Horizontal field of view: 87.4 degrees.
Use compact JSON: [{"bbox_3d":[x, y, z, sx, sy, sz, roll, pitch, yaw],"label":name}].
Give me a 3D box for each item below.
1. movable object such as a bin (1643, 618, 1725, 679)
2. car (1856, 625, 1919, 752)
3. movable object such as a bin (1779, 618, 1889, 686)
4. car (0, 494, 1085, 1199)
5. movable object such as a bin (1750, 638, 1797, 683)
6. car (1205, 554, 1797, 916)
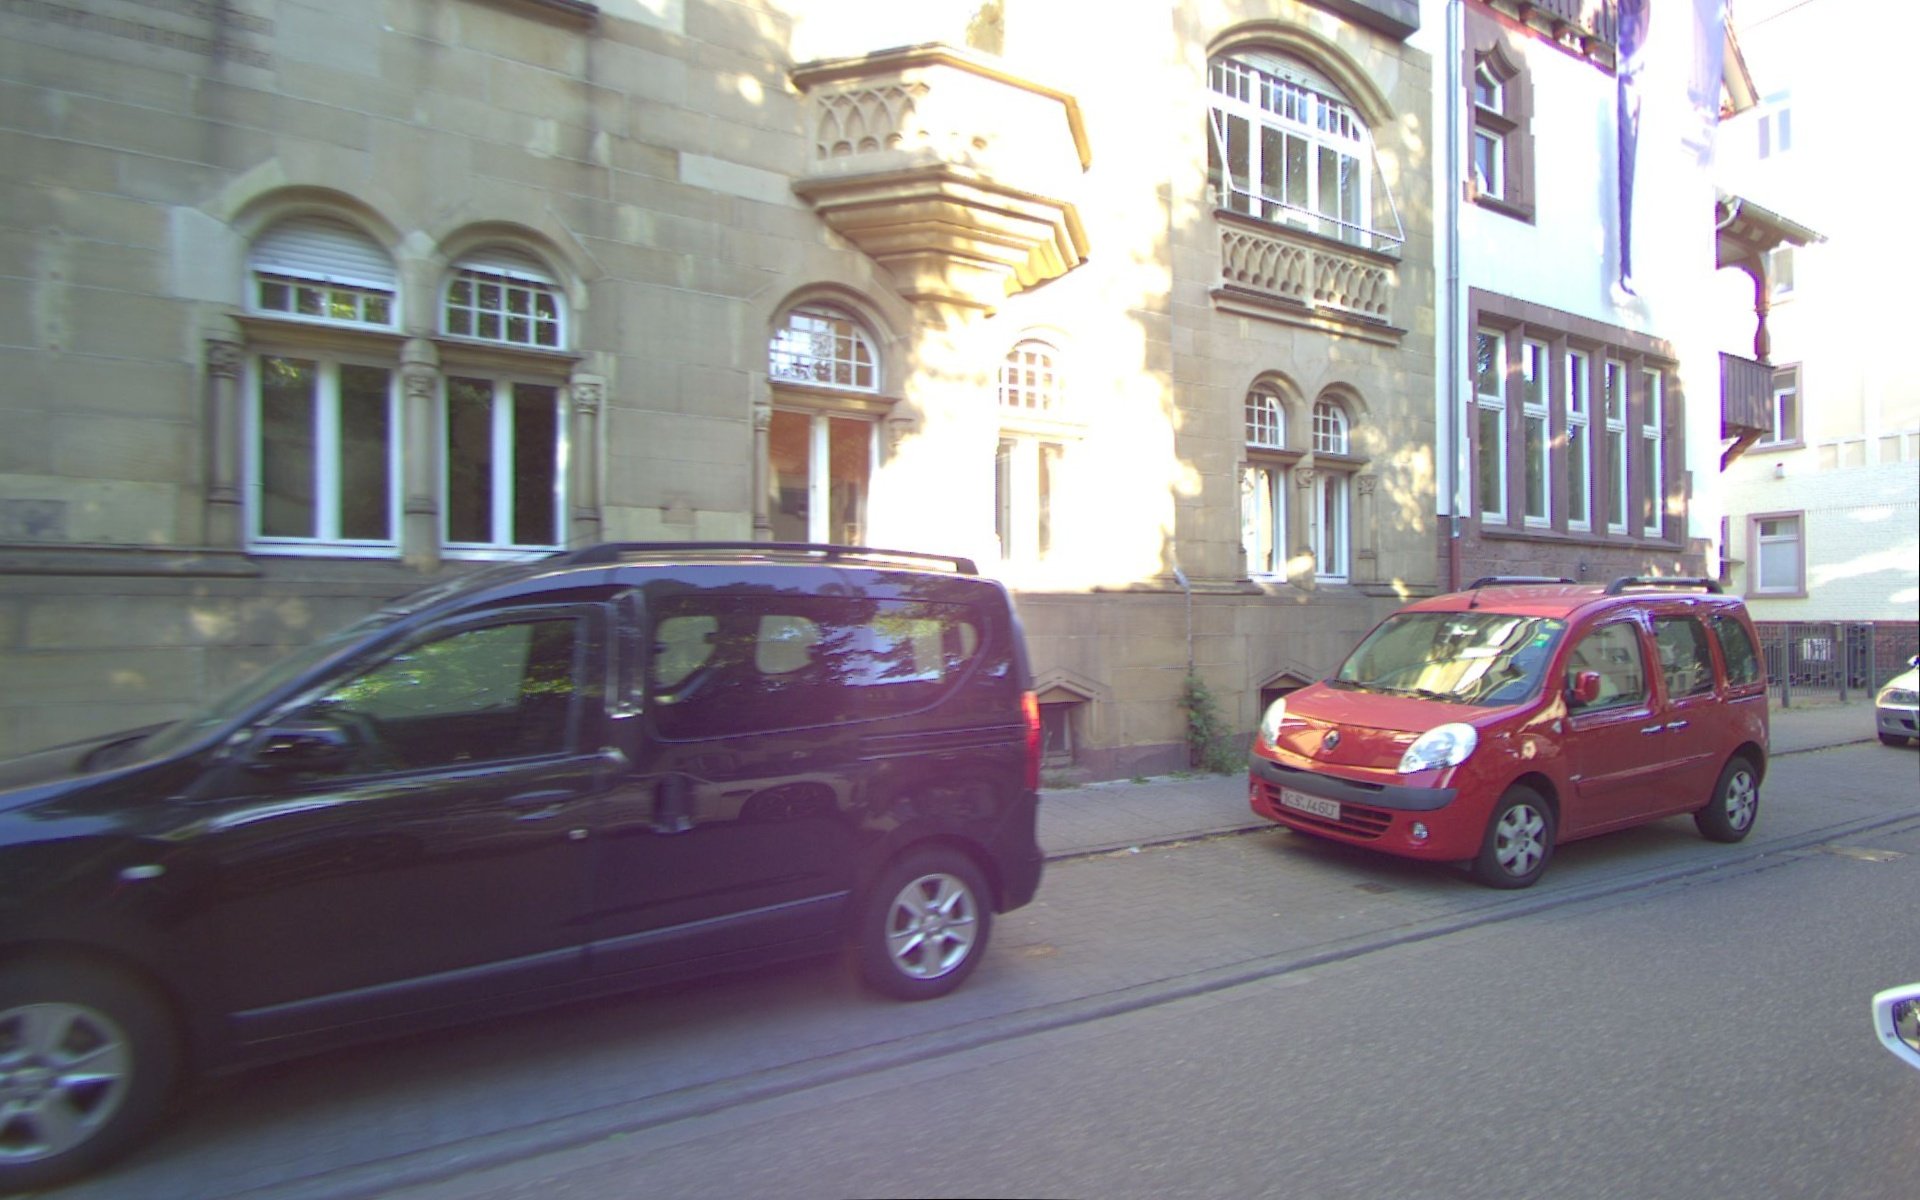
[{"bbox_3d":[16.260,1.071,22.580,0.680,1.335,1.370,1,-1,-36],"label":"movable object such as a bin"},{"bbox_3d":[13.135,1.064,12.653,4.058,1.486,1.734,1,-1,-32],"label":"car"},{"bbox_3d":[17.494,1.015,20.141,0.954,1.316,1.374,0,-1,-20],"label":"movable object such as a bin"},{"bbox_3d":[-1.830,0.680,3.967,4.488,1.876,1.761,0,0,-30],"label":"car"},{"bbox_3d":[16.737,1.241,20.665,0.662,0.890,0.480,0,-1,-20],"label":"movable object such as a bin"},{"bbox_3d":[3.980,0.742,7.229,4.273,1.932,1.790,1,0,-30],"label":"car"}]
